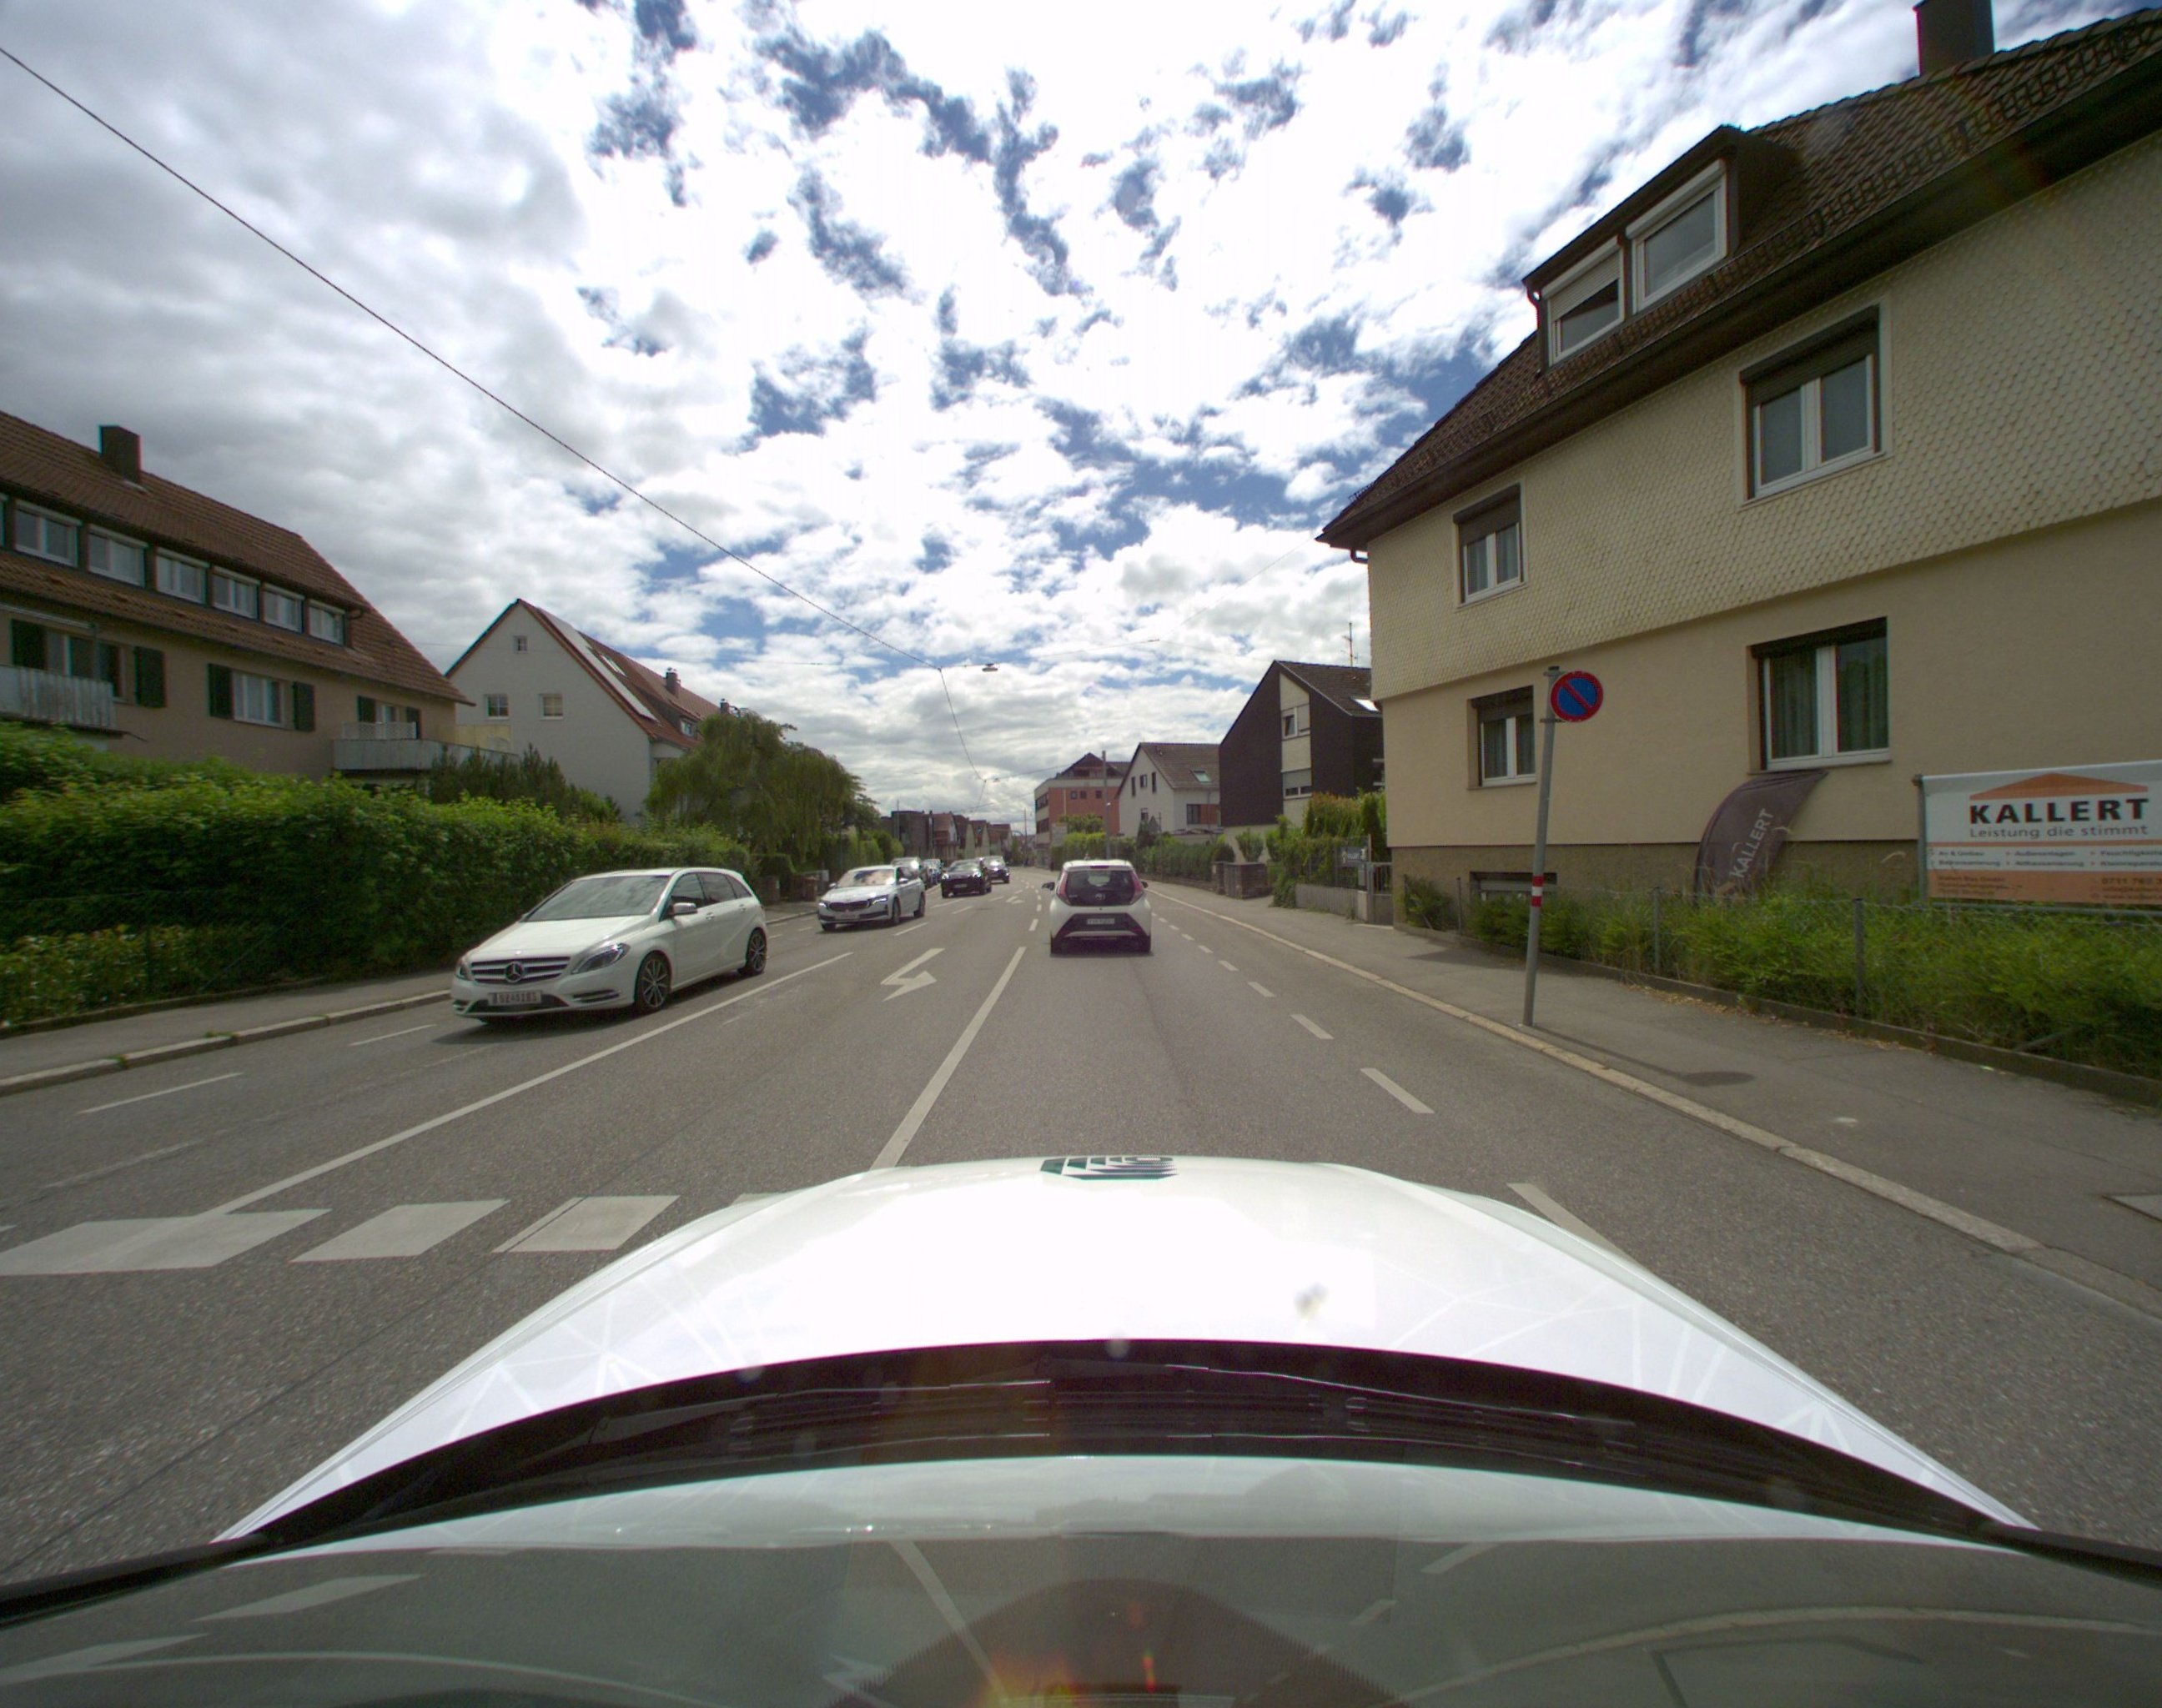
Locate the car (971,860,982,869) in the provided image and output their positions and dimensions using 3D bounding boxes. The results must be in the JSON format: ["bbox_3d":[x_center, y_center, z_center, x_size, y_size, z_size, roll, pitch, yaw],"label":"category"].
[{"bbox_3d":[-19.538,1.932,152.171,1.991,1.684,3.991,0,0,-6],"label":"car"}]

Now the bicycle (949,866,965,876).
[{"bbox_3d":[-13.265,1.802,87.208,1.117,0.937,3.766,-4,0,-17],"label":"bicycle"}]

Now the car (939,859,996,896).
[{"bbox_3d":[-4.812,0.968,35.016,1.769,1.430,4.008,-3,0,0],"label":"car"}]

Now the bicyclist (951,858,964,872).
[{"bbox_3d":[-13.154,1.195,86.697,1.117,1.336,1.623,-4,0,-17],"label":"bicyclist"}]

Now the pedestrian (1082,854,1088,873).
[{"bbox_3d":[0.308,0.760,63.613,0.413,1.438,0.436,-1,0,-12],"label":"pedestrian"}]

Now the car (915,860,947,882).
[{"bbox_3d":[-10.708,1.202,58.393,1.791,1.510,3.993,1,0,-5],"label":"car"}]

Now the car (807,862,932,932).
[{"bbox_3d":[-5.195,0.989,20.654,1.768,1.430,4.524,-4,0,2],"label":"car"}]

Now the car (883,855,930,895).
[{"bbox_3d":[-8.962,1.041,42.097,1.773,1.846,4.000,-4,0,-6],"label":"car"}]

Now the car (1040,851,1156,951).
[{"bbox_3d":[0.160,0.753,14.402,1.618,1.486,3.992,-1,-1,-5],"label":"car"}]

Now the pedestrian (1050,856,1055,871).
[{"bbox_3d":[-2.853,0.919,80.775,0.413,1.438,0.436,-1,0,-7],"label":"pedestrian"}]

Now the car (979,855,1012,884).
[{"bbox_3d":[-5.151,0.926,49.332,1.772,1.552,4.001,-4,0,-5],"label":"car"}]

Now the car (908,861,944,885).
[{"bbox_3d":[-10.084,1.208,53.198,1.791,1.510,3.994,1,0,-4],"label":"car"}]

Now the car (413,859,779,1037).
[{"bbox_3d":[-5.353,0.894,9.774,1.769,1.561,4.169,-4,0,0],"label":"car"}]
